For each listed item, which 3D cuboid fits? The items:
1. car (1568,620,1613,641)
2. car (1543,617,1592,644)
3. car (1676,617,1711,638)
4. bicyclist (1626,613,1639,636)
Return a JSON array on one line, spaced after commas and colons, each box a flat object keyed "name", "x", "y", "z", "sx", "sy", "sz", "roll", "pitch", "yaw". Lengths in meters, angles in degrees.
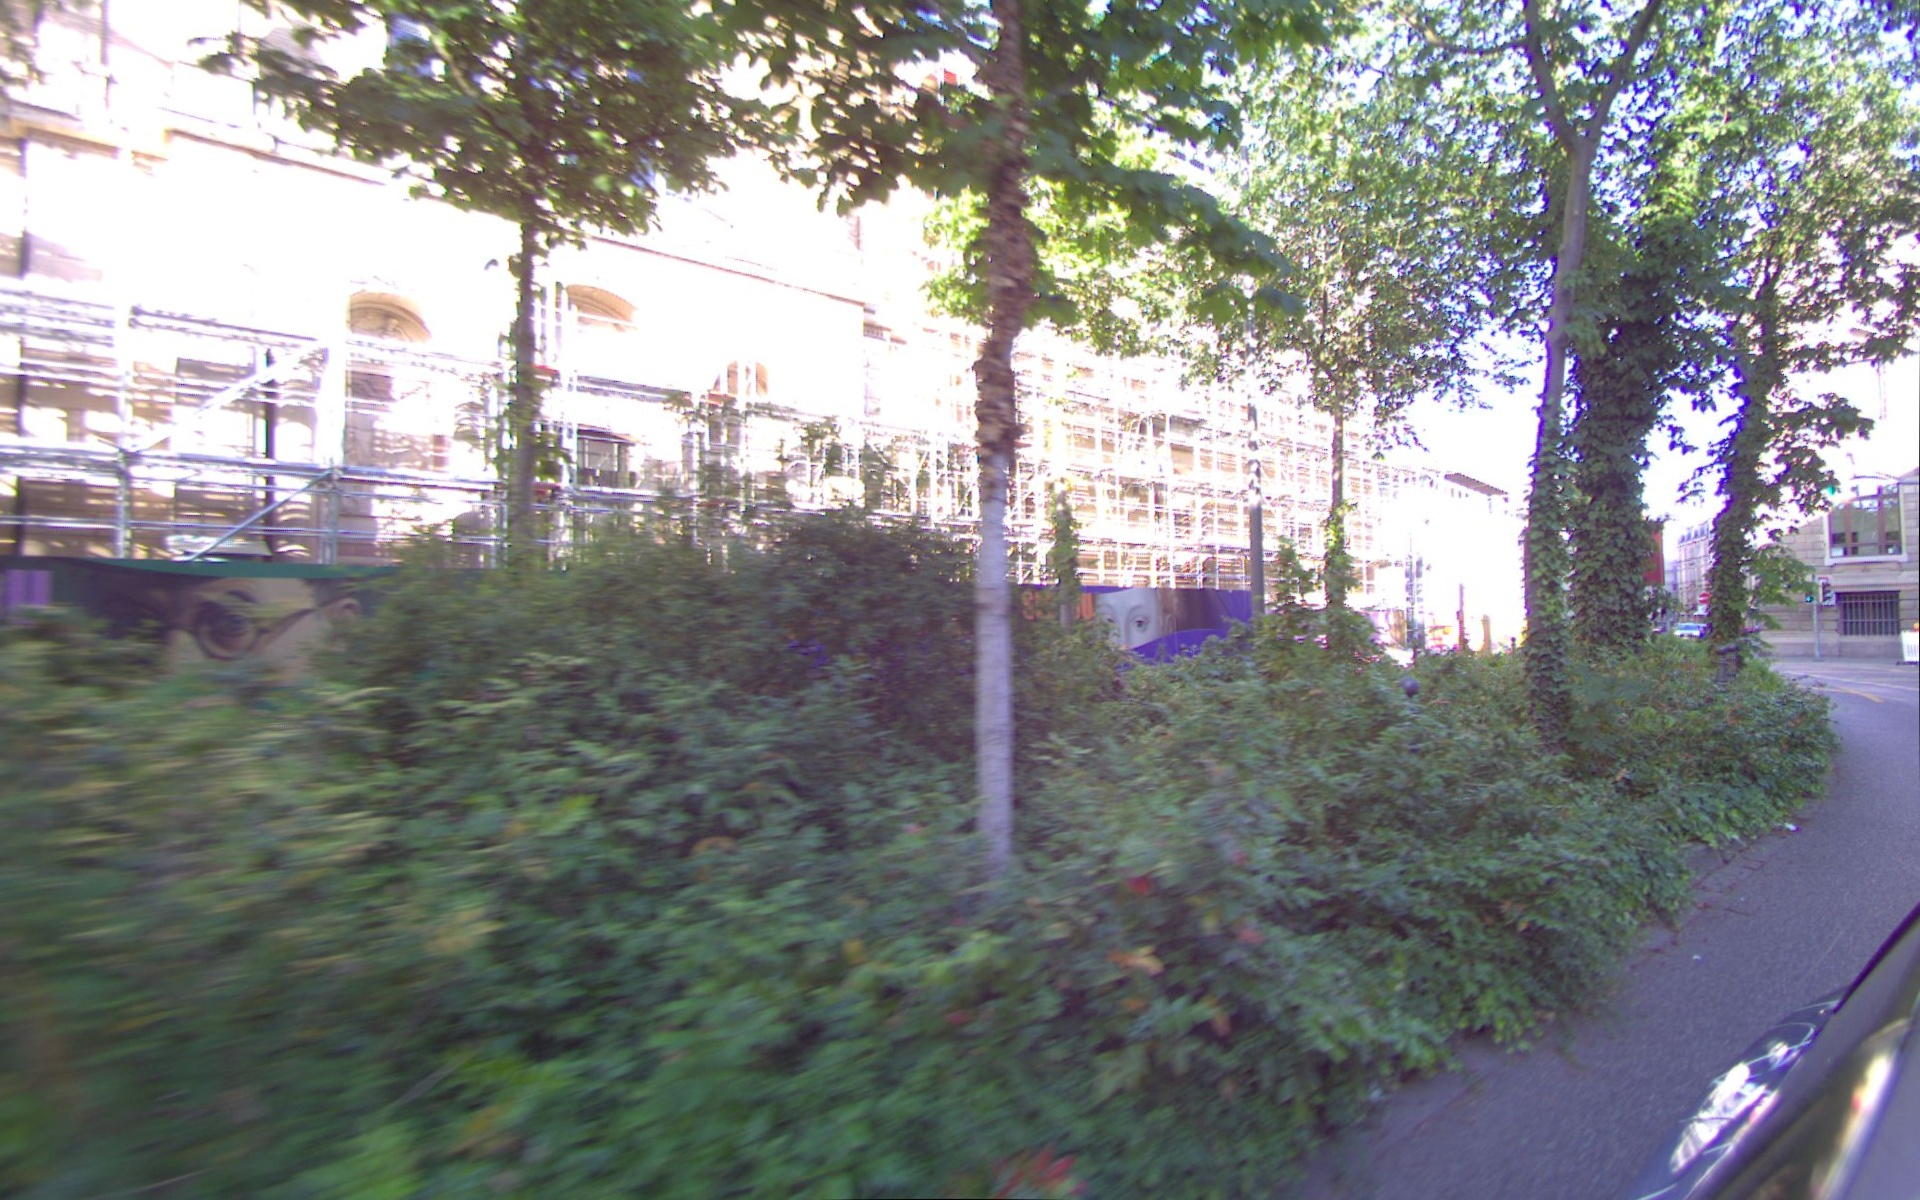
[{"name": "car", "x": 44.083, "y": 2.125, "z": 70.701, "sx": 1.696, "sy": 1.362, "sz": 4.525, "roll": -4, "pitch": -3, "yaw": 44}, {"name": "car", "x": 39.398, "y": 1.945, "z": 65.573, "sx": 1.892, "sy": 1.645, "sz": 4.551, "roll": -4, "pitch": -3, "yaw": 41}, {"name": "car", "x": 55.954, "y": 2.101, "z": 77.166, "sx": 1.846, "sy": 1.511, "sz": 4.193, "roll": -4, "pitch": -3, "yaw": 39}, {"name": "bicyclist", "x": 39.074, "y": 1.447, "z": 58.812, "sx": 0.535, "sy": 1.305, "sz": 0.544, "roll": -4, "pitch": -4, "yaw": 38}]
